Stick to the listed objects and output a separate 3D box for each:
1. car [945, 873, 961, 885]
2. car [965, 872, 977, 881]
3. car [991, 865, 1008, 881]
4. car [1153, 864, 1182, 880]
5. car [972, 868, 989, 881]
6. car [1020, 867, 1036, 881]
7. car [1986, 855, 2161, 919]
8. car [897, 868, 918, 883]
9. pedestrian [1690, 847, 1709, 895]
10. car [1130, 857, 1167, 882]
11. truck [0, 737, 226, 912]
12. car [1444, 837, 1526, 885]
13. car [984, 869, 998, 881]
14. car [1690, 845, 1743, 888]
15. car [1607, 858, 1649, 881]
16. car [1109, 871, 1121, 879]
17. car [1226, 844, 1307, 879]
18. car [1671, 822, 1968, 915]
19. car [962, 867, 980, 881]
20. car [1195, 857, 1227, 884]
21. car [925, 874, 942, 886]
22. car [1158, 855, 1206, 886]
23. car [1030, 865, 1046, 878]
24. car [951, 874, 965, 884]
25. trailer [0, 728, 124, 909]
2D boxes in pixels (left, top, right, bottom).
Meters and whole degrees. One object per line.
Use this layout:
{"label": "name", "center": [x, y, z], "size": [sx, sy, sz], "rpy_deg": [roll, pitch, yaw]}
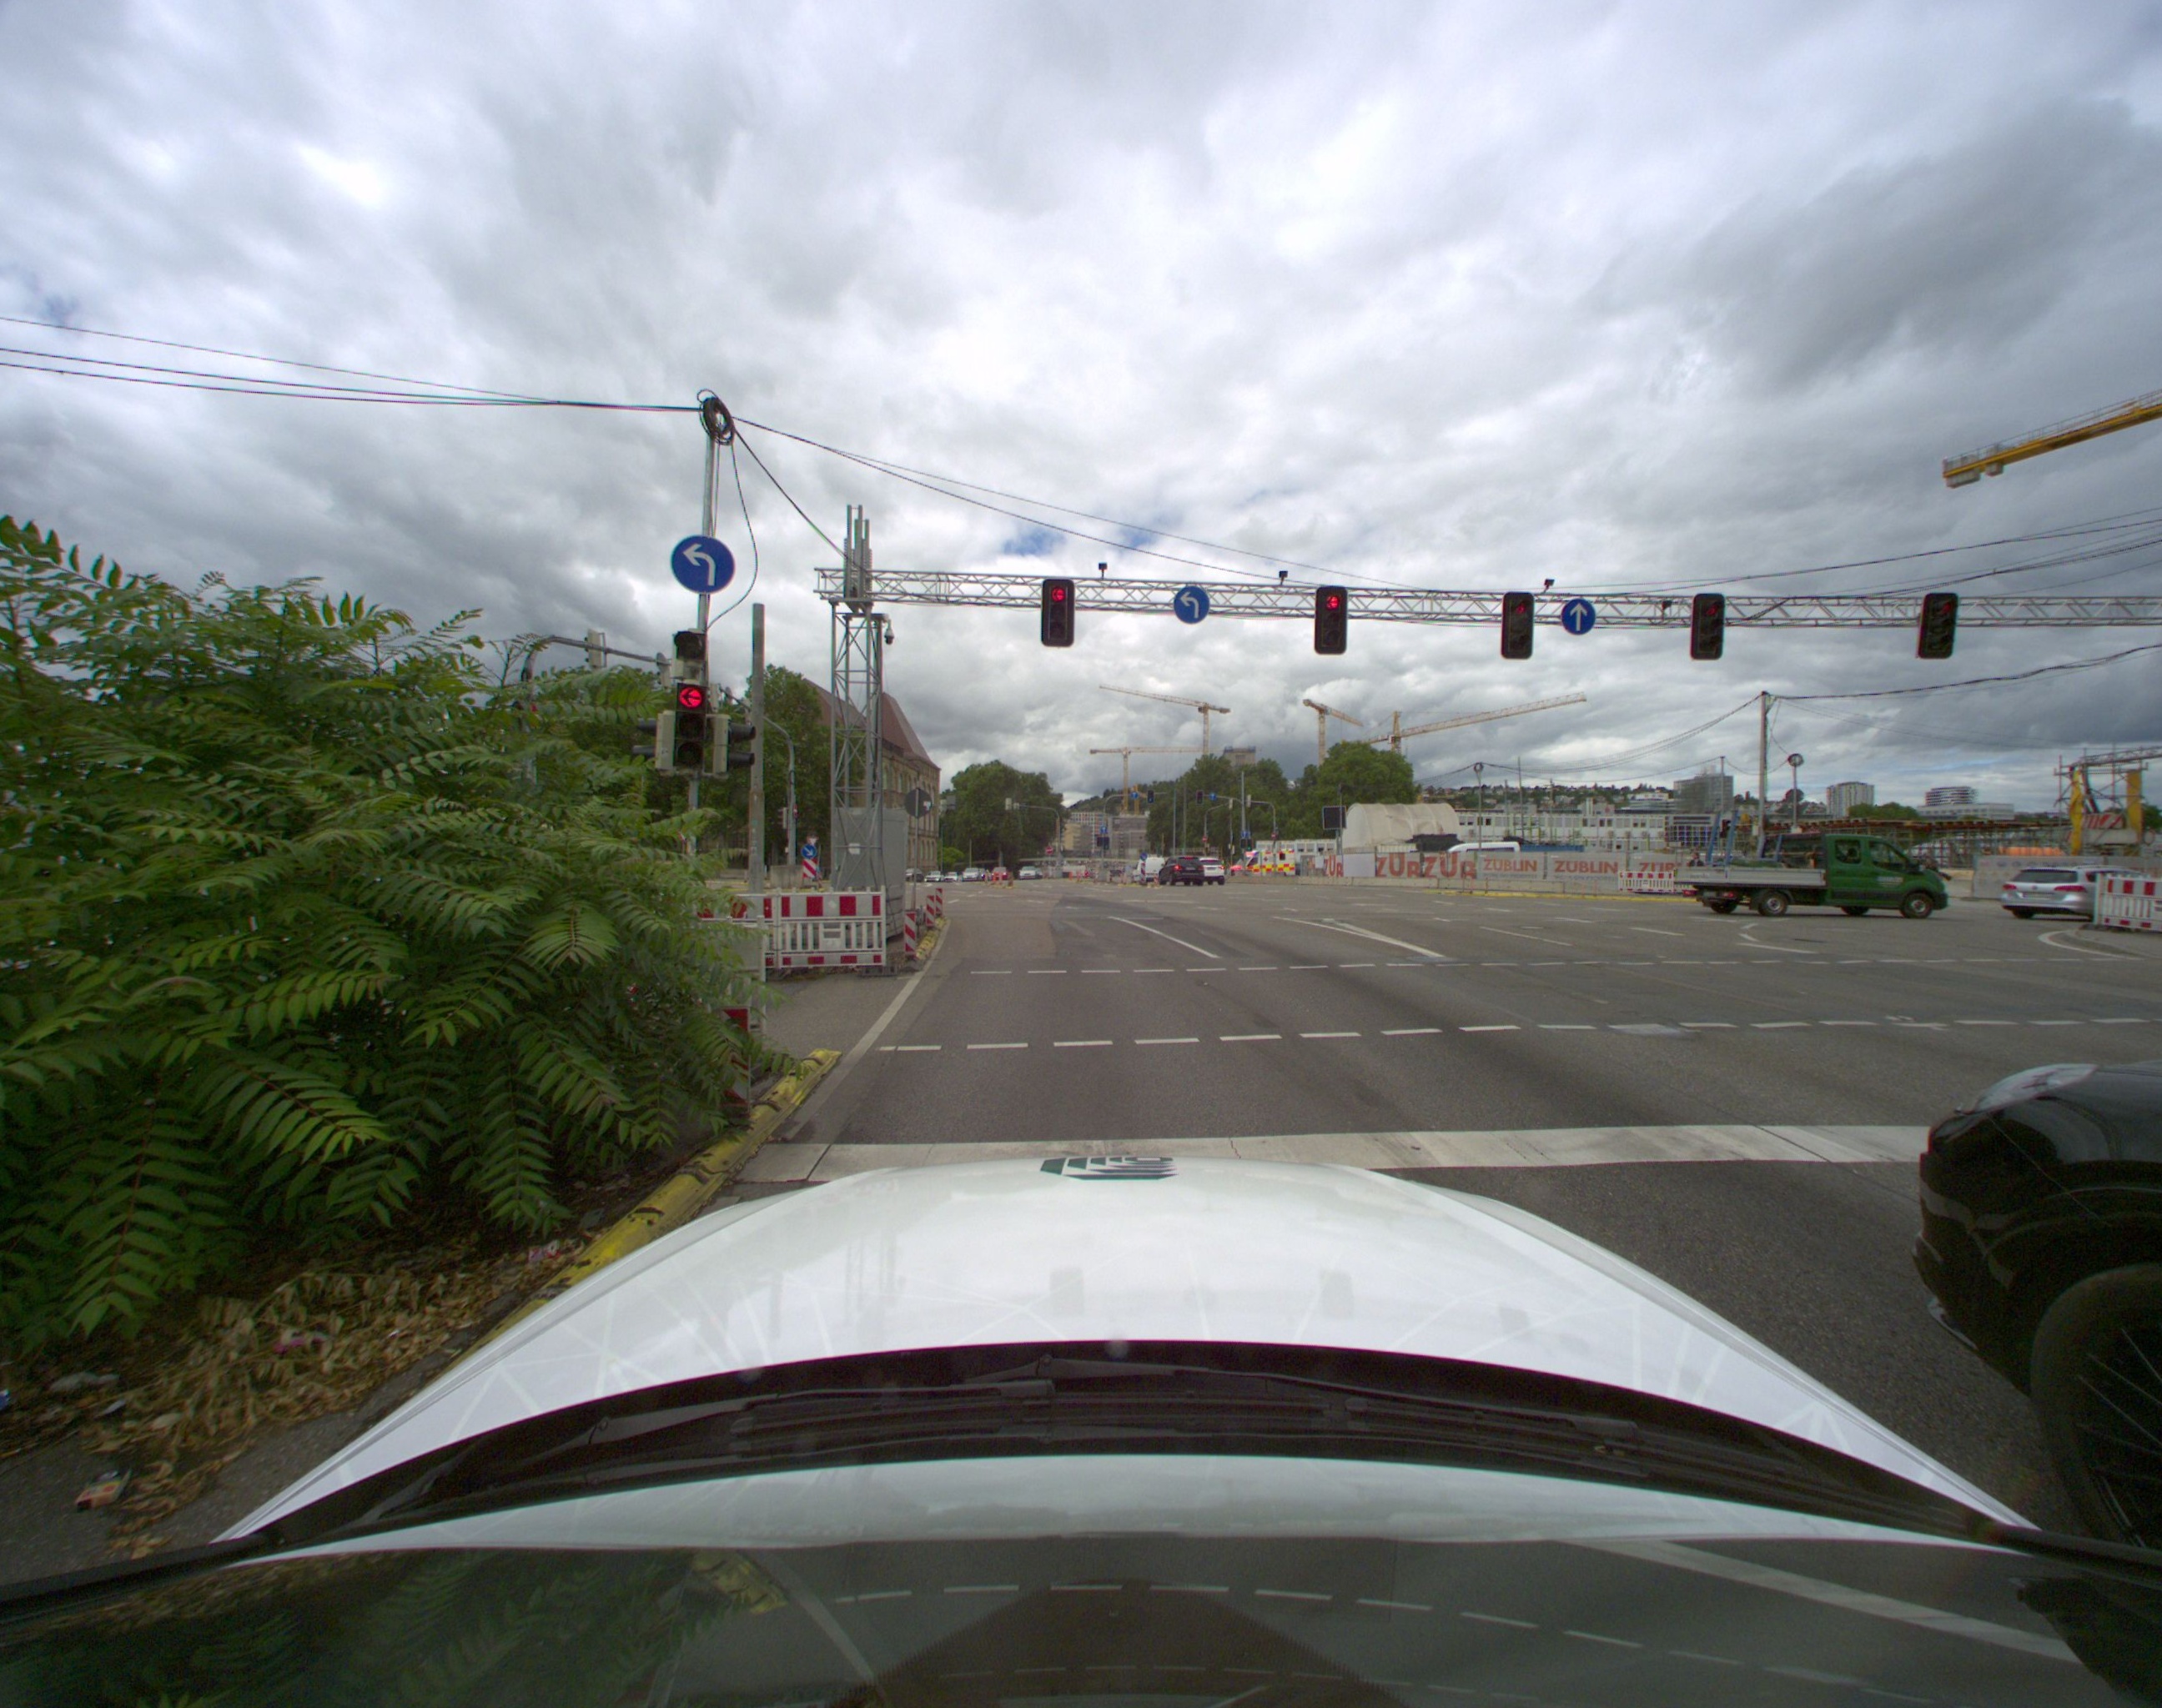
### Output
{"label": "car", "center": [-17.034, 3.288, 108.668], "size": [1.672, 1.398, 3.680], "rpy_deg": [1, 0, -2]}
{"label": "car", "center": [-17.469, 3.620, 129.798], "size": [1.673, 1.398, 3.677], "rpy_deg": [0, -1, -4]}
{"label": "car", "center": [-8.481, 1.986, 85.093], "size": [1.673, 1.580, 3.677], "rpy_deg": [0, -1, -4]}
{"label": "car", "center": [8.019, 1.673, 75.961], "size": [1.680, 1.398, 3.069], "rpy_deg": [0, -1, -16]}
{"label": "car", "center": [-11.368, 2.256, 92.235], "size": [1.673, 1.398, 3.677], "rpy_deg": [0, -1, -4]}
{"label": "car", "center": [-5.586, 2.058, 85.328], "size": [1.673, 1.398, 3.677], "rpy_deg": [0, -1, -4]}
{"label": "car", "center": [27.286, 0.839, 21.535], "size": [4.691, 1.625, 1.682], "rpy_deg": [0, -1, 2]}
{"label": "car", "center": [-18.154, 2.228, 85.188], "size": [1.673, 1.398, 3.677], "rpy_deg": [0, -1, -4]}
{"label": "pedestrian", "center": [25.684, 0.681, 33.835], "size": [0.581, 1.976, 0.437], "rpy_deg": [0, 0, 43]}
{"label": "car", "center": [4.567, 1.013, 55.580], "size": [1.814, 1.625, 3.992], "rpy_deg": [0, -1, -5]}
{"label": "truck", "center": [-25.402, -0.674, 20.324], "size": [4.864, 4.064, 2.942], "rpy_deg": [0, -1, -3]}
{"label": "car", "center": [23.231, 0.421, 46.976], "size": [3.957, 2.662, 1.688], "rpy_deg": [-1, -1, 15]}
{"label": "car", "center": [-11.371, 2.647, 102.890], "size": [1.673, 1.398, 3.677], "rpy_deg": [0, -1, -4]}
{"label": "car", "center": [30.134, 0.561, 38.703], "size": [1.755, 1.954, 3.146], "rpy_deg": [-1, -1, 34]}
{"label": "car", "center": [37.991, 1.067, 56.664], "size": [1.661, 1.528, 4.021], "rpy_deg": [-1, -1, 22]}
{"label": "car", "center": [4.995, 3.084, 120.962], "size": [1.307, 1.075, 3.675], "rpy_deg": [0, 0, -6]}
{"label": "car", "center": [16.584, 0.681, 72.732], "size": [6.753, 3.052, 2.358], "rpy_deg": [0, -1, -17]}
{"label": "car", "center": [19.481, 0.377, 21.735], "size": [5.736, 2.305, 2.304], "rpy_deg": [0, -1, 2]}
{"label": "car", "center": [-11.621, 2.108, 86.077], "size": [1.673, 1.398, 3.677], "rpy_deg": [0, -1, -4]}
{"label": "car", "center": [8.491, 1.054, 53.379], "size": [1.670, 1.702, 3.375], "rpy_deg": [0, -1, 2]}
{"label": "car", "center": [-17.595, 3.083, 97.168], "size": [1.673, 1.398, 3.677], "rpy_deg": [0, -1, -4]}
{"label": "car", "center": [5.960, 0.937, 48.496], "size": [1.830, 1.746, 4.244], "rpy_deg": [0, -1, -8]}
{"label": "car", "center": [-4.917, 1.963, 92.615], "size": [1.673, 1.398, 3.677], "rpy_deg": [0, -1, -4]}
{"label": "car", "center": [-17.503, 3.541, 116.374], "size": [1.673, 1.398, 3.677], "rpy_deg": [0, -1, -4]}
{"label": "trailer", "center": [-32.420, -0.778, 20.003], "size": [13.708, 4.281, 2.945], "rpy_deg": [0, -1, -3]}
